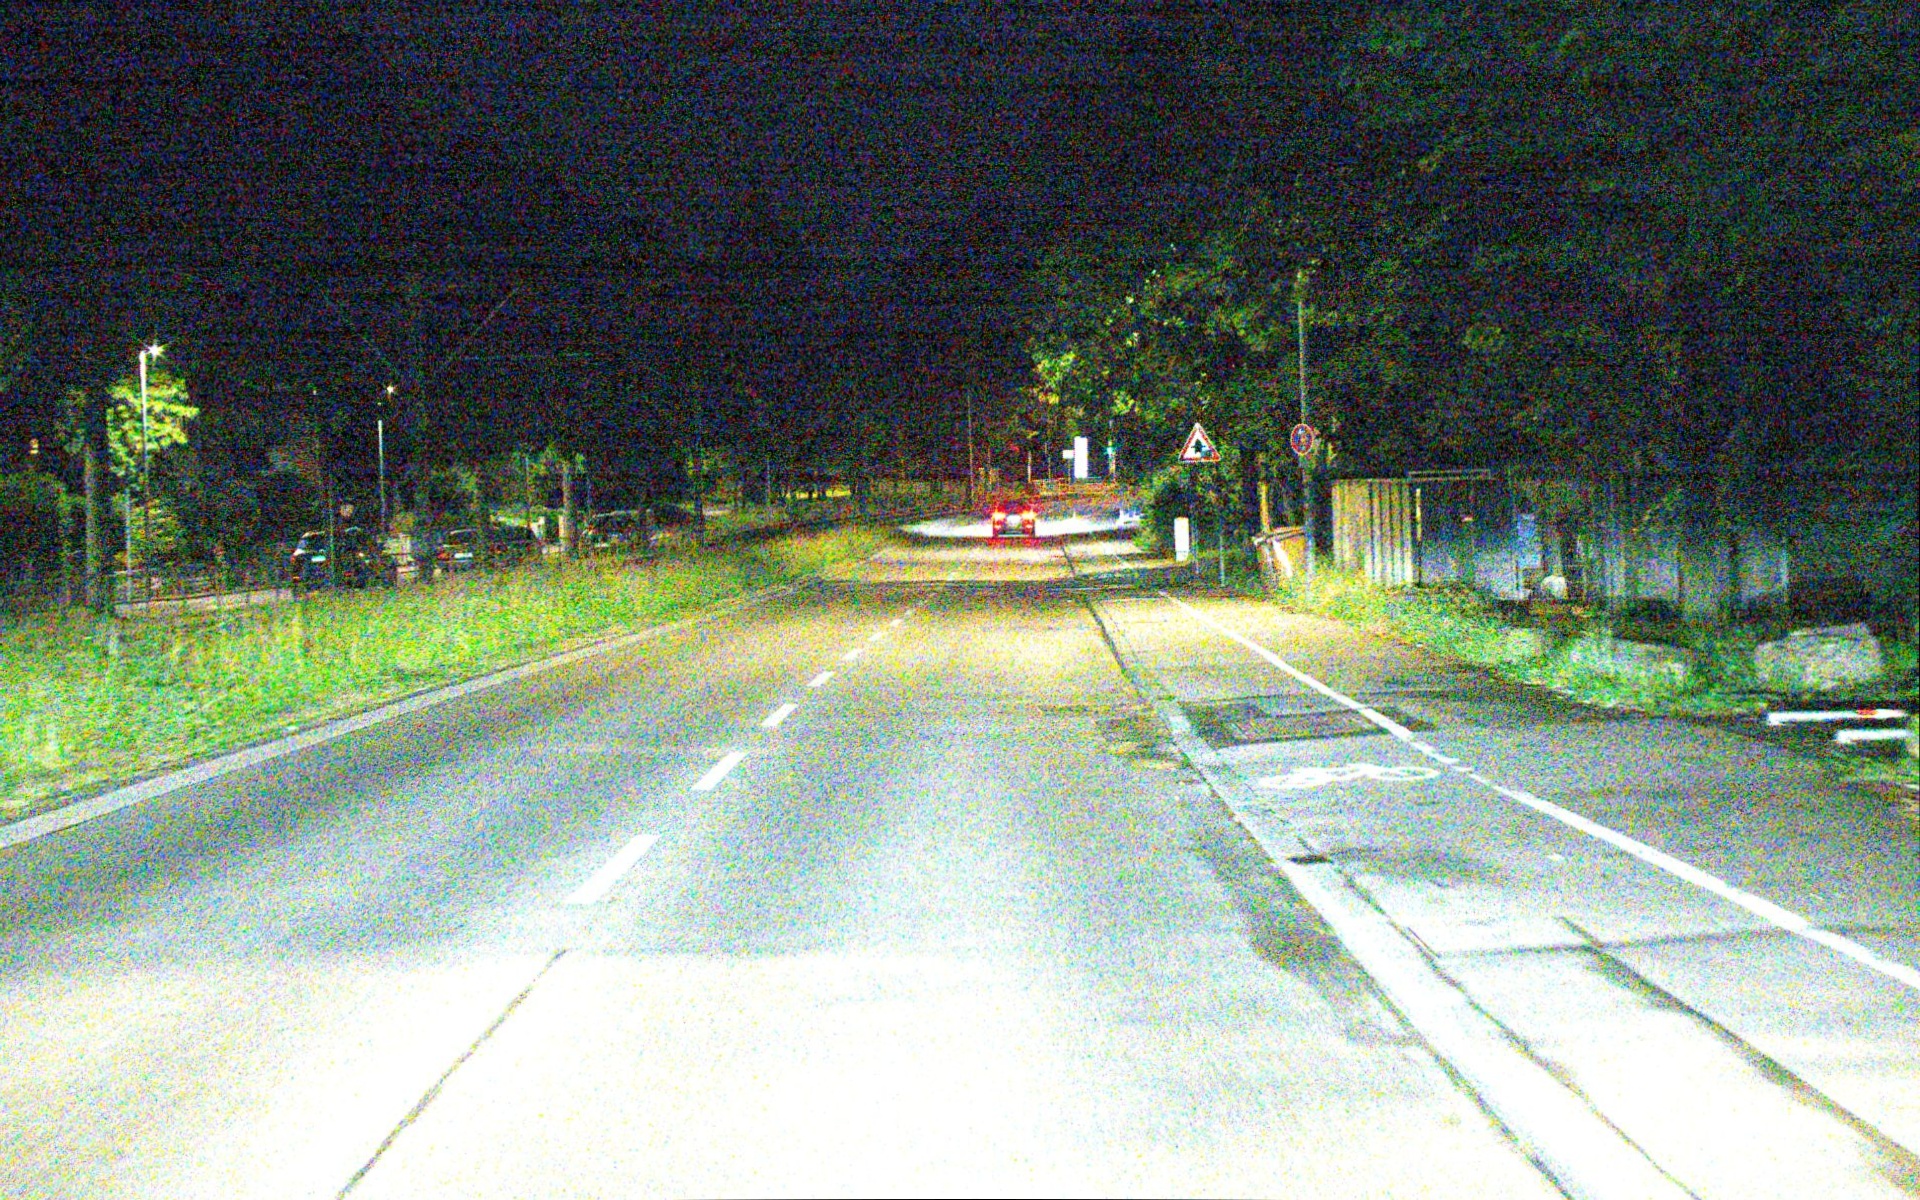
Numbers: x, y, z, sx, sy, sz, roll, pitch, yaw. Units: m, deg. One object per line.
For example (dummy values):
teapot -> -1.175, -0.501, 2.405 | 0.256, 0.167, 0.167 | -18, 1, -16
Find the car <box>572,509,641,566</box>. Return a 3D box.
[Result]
car -> -13.712, -2.443, 133.583 | 2.091, 2.006, 4.000 | -5, 2, 0

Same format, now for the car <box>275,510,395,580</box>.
car -> -15.099, -1.345, 83.228 | 1.993, 1.622, 4.677 | -1, 1, 0

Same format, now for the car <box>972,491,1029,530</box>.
car -> 1.693, -3.763, 145.513 | 2.161, 1.577, 4.014 | -1, 1, -2

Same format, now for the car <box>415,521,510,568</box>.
car -> -14.868, -1.678, 102.983 | 1.993, 1.333, 5.432 | -1, 1, 0

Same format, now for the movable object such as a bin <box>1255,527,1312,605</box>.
movable object such as a bin -> 4.972, -0.522, 52.941 | 0.833, 1.177, 0.828 | -1, 1, 4

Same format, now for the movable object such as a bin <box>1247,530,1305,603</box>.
movable object such as a bin -> 4.943, -0.528, 53.818 | 0.857, 1.115, 0.840 | -1, 1, 4

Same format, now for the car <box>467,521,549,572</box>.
car -> -14.292, -1.705, 108.829 | 1.993, 1.524, 4.000 | -1, 2, 0
